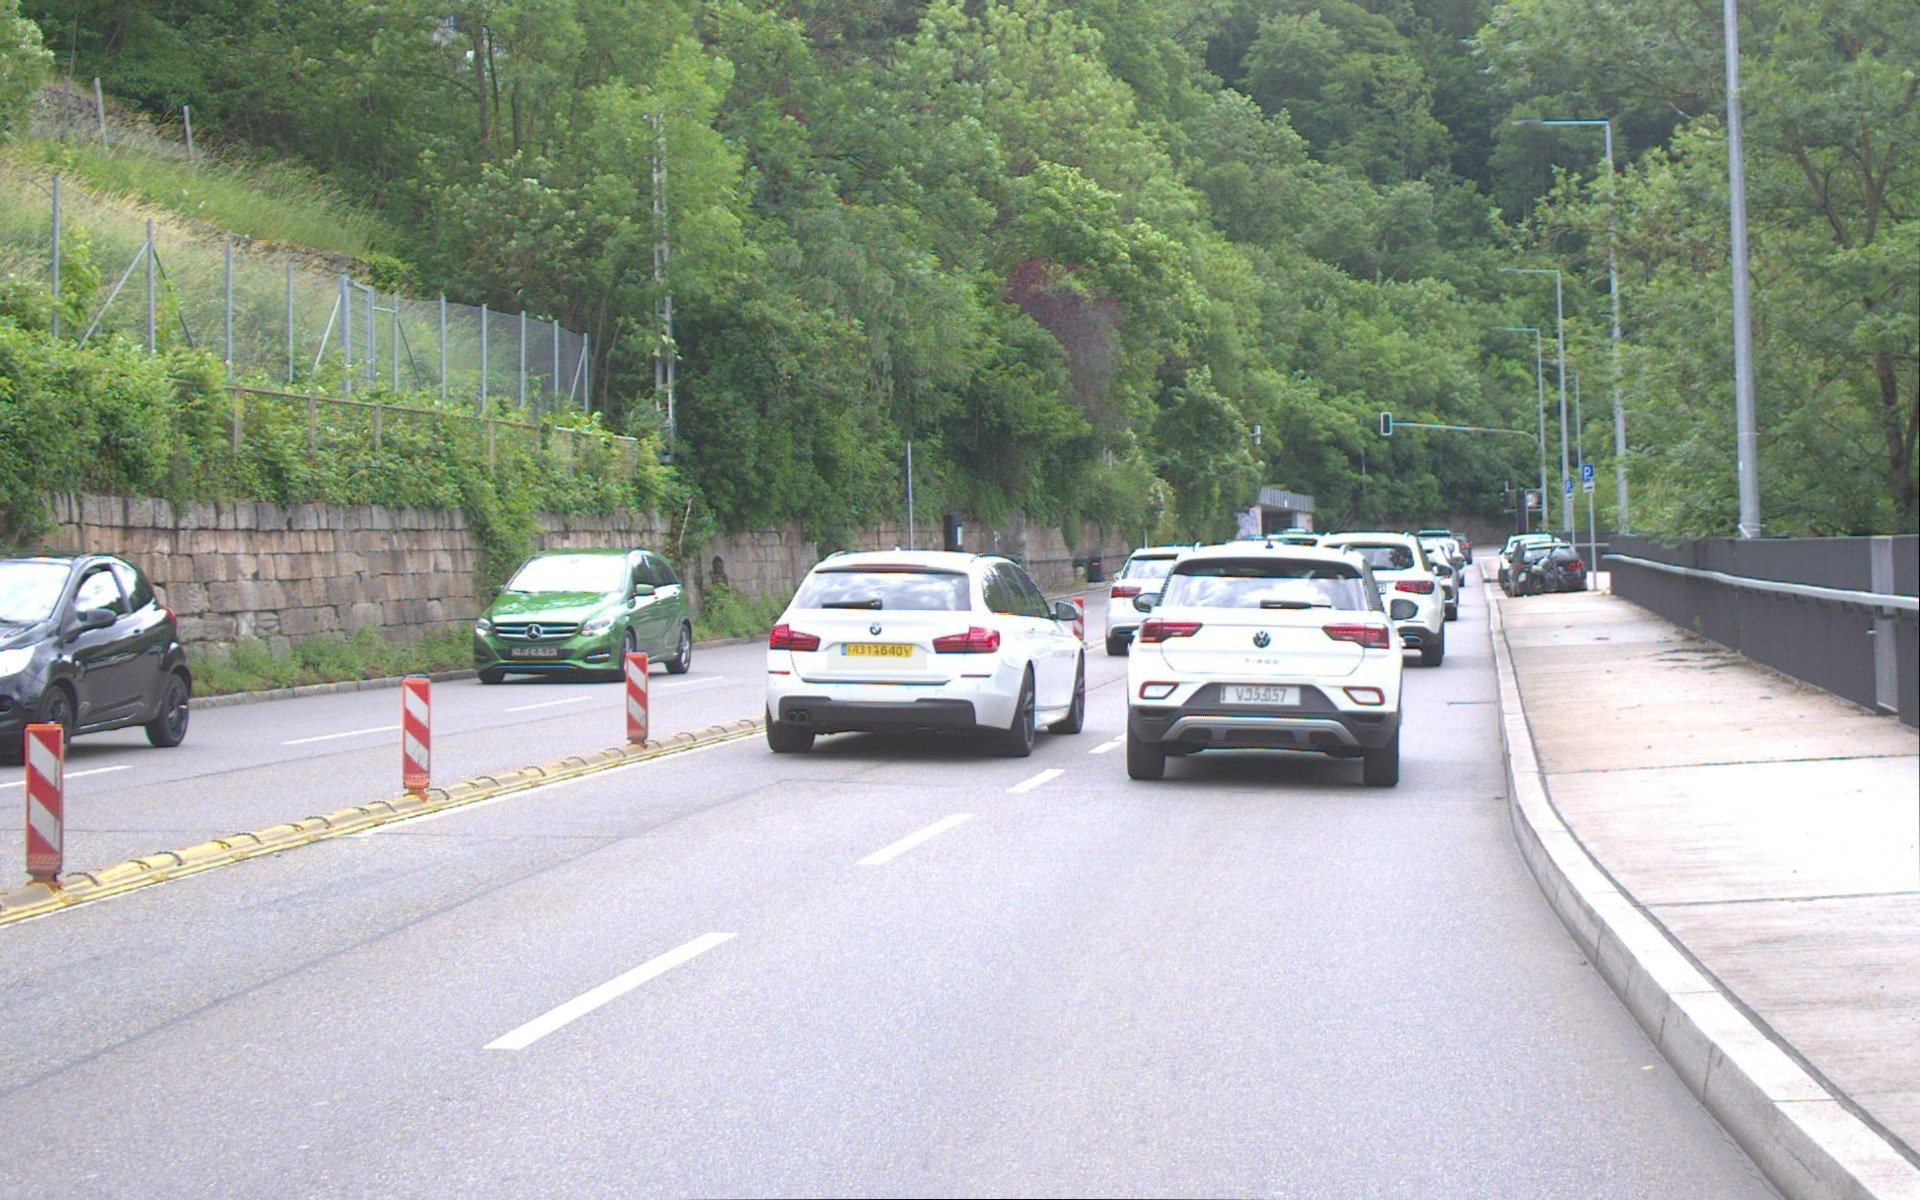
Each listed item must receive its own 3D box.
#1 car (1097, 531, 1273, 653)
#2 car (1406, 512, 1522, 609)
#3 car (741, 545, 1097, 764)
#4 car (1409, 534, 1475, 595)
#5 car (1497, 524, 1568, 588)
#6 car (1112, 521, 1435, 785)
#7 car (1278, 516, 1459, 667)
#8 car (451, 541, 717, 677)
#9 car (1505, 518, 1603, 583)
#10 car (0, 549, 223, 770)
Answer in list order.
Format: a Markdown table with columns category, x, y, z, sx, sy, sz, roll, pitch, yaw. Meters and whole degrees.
| category | x | y | z | sx | sy | sz | roll | pitch | yaw |
| --- | --- | --- | --- | --- | --- | --- | --- | --- | --- |
| car | 3.140 | -0.148 | 47.207 | 1.994 | 1.498 | 4.666 | 0 | 2 | 9 |
| car | 9.289 | -0.730 | 63.613 | 1.994 | 1.711 | 3.999 | 1 | 1 | 7 |
| car | -0.200 | 0.331 | 25.597 | 1.828 | 1.454 | 4.484 | 1 | 1 | 10 |
| car | 15.054 | -1.112 | 107.561 | 1.994 | 1.853 | 3.999 | 0 | 0 | 7 |
| car | 16.673 | -1.305 | 100.241 | 1.994 | 1.712 | 4.113 | 0 | 2 | 9 |
| car | 2.228 | 0.318 | 23.503 | 1.829 | 1.600 | 3.998 | 1 | 0 | 10 |
| car | 5.190 | -0.157 | 43.265 | 1.994 | 1.712 | 4.112 | 2 | 2 | 10 |
| car | -4.397 | 0.071 | 40.846 | 1.852 | 1.510 | 4.331 | 1 | 1 | 12 |
| car | 14.177 | -1.182 | 82.217 | 1.815 | 1.503 | 4.000 | 0 | 1 | 3 |
| car | -6.742 | 0.362 | 24.703 | 1.706 | 1.437 | 3.999 | 1 | 1 | 5 |
